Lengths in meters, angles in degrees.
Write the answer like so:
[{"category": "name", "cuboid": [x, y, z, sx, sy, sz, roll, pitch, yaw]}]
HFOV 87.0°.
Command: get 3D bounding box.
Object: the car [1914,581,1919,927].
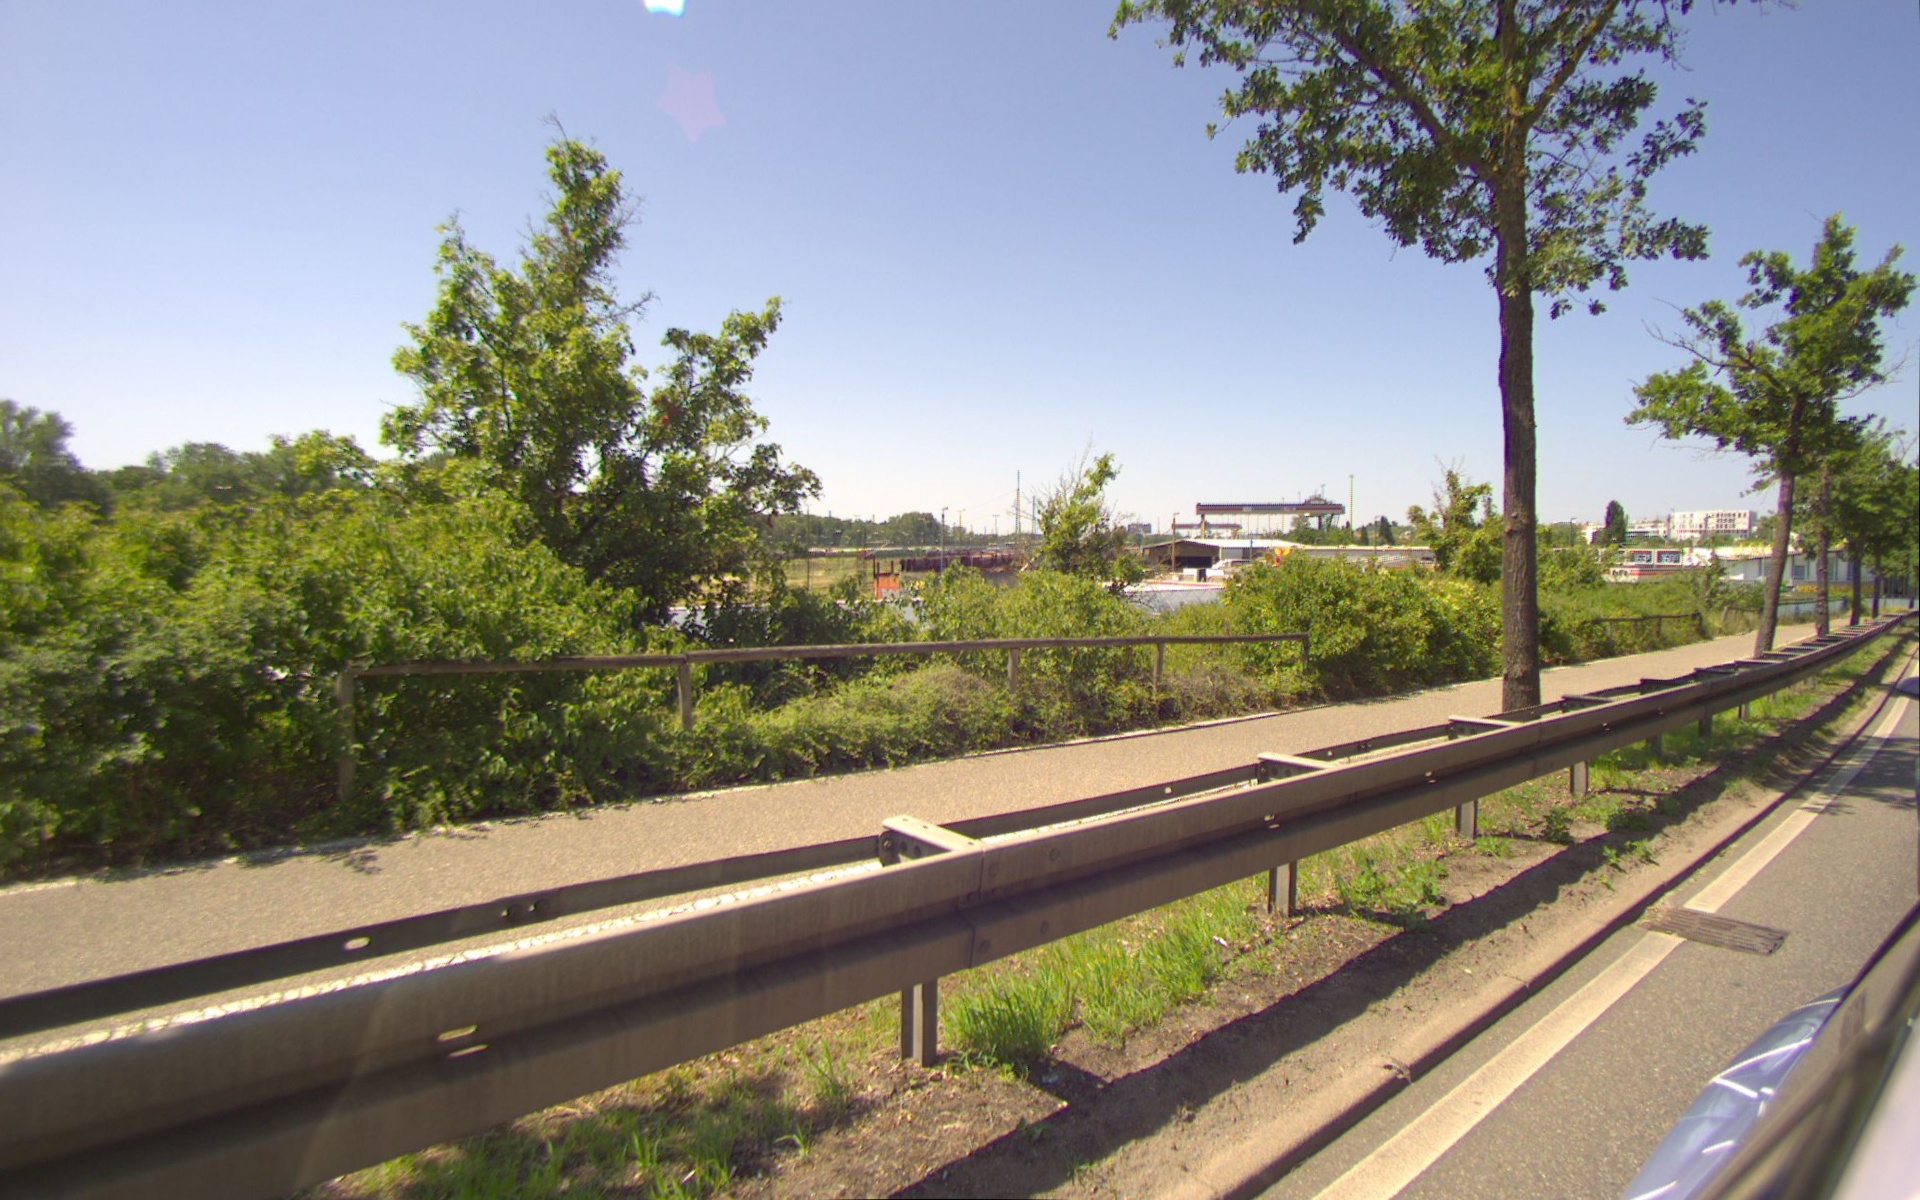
[{"category": "car", "cuboid": [6.039, 0.642, 5.031, 3.774, 1.482, 1.717, -1, 0, -44]}]
